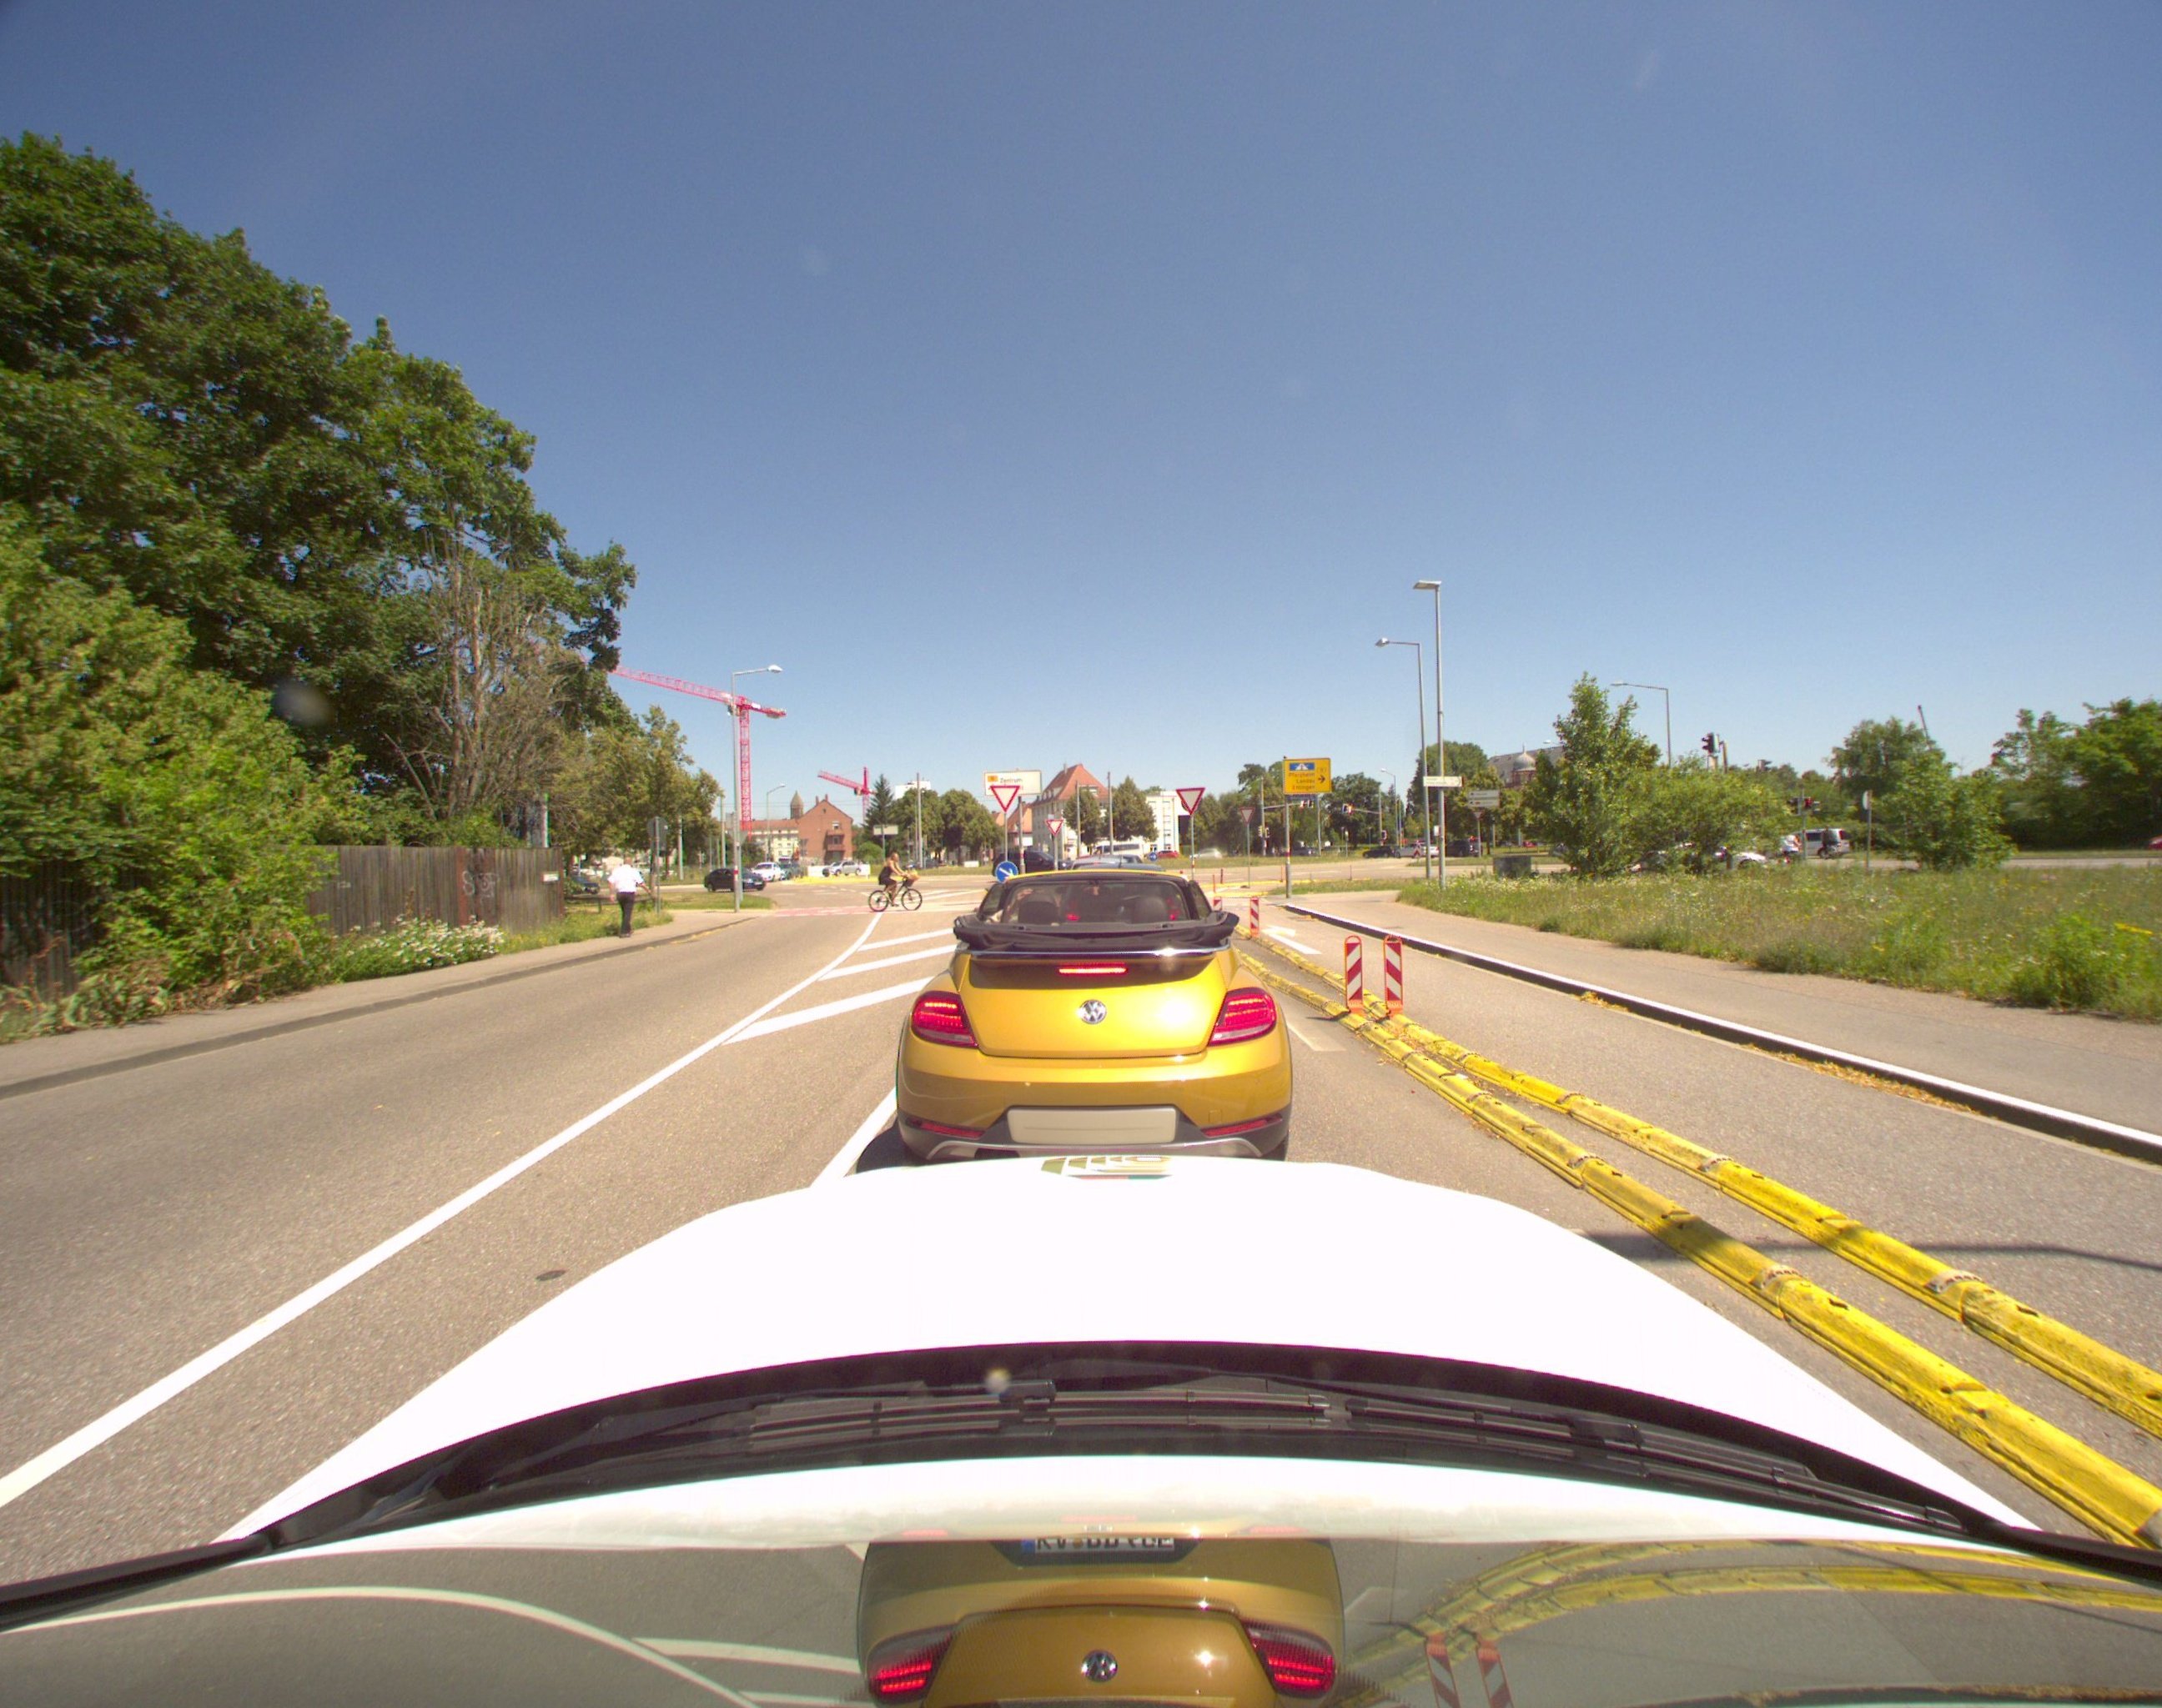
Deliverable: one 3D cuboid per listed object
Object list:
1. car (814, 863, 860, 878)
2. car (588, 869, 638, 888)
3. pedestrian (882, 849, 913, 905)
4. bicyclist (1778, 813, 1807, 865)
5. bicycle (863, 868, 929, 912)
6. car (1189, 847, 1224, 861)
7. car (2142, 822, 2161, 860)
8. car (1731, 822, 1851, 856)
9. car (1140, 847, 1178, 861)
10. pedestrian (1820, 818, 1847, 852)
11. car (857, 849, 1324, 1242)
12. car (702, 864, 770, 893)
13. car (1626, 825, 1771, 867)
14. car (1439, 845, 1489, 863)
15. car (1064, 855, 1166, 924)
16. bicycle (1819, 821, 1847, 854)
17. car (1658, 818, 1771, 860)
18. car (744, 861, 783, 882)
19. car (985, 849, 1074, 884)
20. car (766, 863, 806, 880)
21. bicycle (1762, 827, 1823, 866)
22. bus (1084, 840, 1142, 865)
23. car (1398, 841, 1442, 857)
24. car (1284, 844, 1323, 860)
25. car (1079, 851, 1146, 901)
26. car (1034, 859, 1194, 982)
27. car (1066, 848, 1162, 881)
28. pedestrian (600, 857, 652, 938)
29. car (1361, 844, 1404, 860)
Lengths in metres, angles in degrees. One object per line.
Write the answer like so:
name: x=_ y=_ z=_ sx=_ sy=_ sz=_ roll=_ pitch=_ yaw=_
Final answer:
car: x=-23.515 y=1.560 z=78.693 sx=1.711 sy=1.402 sz=4.297 roll=-1 pitch=-1 yaw=29
car: x=-47.504 y=2.481 z=82.691 sx=3.982 sy=1.772 sz=1.872 roll=0 pitch=-1 yaw=-7
pedestrian: x=-5.572 y=0.703 z=24.783 sx=0.728 sy=1.691 sz=0.577 roll=-1 pitch=-1 yaw=11
bicyclist: x=25.759 y=-0.535 z=29.502 sx=0.573 sy=1.841 sz=0.603 roll=0 pitch=-1 yaw=-29
bicycle: x=-5.628 y=1.100 z=24.781 sx=1.830 sy=1.231 sz=0.615 roll=-3 pitch=-1 yaw=12
car: x=15.817 y=0.011 z=102.395 sx=3.951 sy=1.772 sz=1.796 roll=-1 pitch=-1 yaw=23
car: x=53.673 y=-0.628 z=38.590 sx=3.889 sy=1.817 sz=1.673 roll=-1 pitch=-1 yaw=44
car: x=44.107 y=-0.895 z=50.740 sx=2.002 sy=1.962 sz=5.271 roll=0 pitch=-1 yaw=-34
car: x=9.645 y=0.018 z=100.483 sx=4.393 sy=1.736 sz=1.858 roll=-1 pitch=-1 yaw=20
pedestrian: x=37.903 y=-0.947 z=41.038 sx=0.959 sy=1.660 sz=0.892 roll=-1 pitch=-1 yaw=44
car: x=0.099 y=0.743 z=5.216 sx=1.758 sy=1.481 sz=4.259 roll=0 pitch=-1 yaw=2
car: x=-20.519 y=1.433 z=48.358 sx=4.287 sy=1.552 sz=1.739 roll=-1 pitch=1 yaw=37
car: x=25.558 y=-0.332 z=33.885 sx=4.368 sy=1.527 sz=2.010 roll=-2 pitch=0 yaw=20
car: x=36.328 y=0.033 z=77.385 sx=1.880 sy=1.614 sz=4.305 roll=0 pitch=-1 yaw=-17
car: x=0.750 y=0.743 z=18.646 sx=2.057 sy=1.382 sz=4.259 roll=0 pitch=-1 yaw=2
bicycle: x=38.002 y=-0.819 z=41.147 sx=0.972 sy=1.597 sz=2.900 roll=-1 pitch=-1 yaw=43
car: x=38.806 y=-0.856 z=49.968 sx=5.261 sy=2.397 sz=2.006 roll=-1 pitch=-1 yaw=43
car: x=-24.872 y=1.349 z=63.994 sx=1.773 sy=1.527 sz=3.866 roll=-2 pitch=0 yaw=-5
car: x=-2.831 y=0.708 z=44.904 sx=4.368 sy=1.594 sz=2.011 roll=-2 pitch=6 yaw=19
car: x=-25.190 y=1.499 z=69.689 sx=1.740 sy=1.371 sz=4.332 roll=0 pitch=-1 yaw=1
bicycle: x=25.827 y=-0.263 z=29.528 sx=2.902 sy=1.353 sz=0.635 roll=0 pitch=-1 yaw=-28
bus: x=4.171 y=-0.159 z=104.973 sx=7.208 sy=3.172 sz=2.267 roll=-1 pitch=-1 yaw=9
car: x=31.356 y=-0.455 z=75.372 sx=1.746 sy=1.371 sz=4.317 roll=0 pitch=-1 yaw=-9
car: x=25.069 y=-0.166 z=91.772 sx=1.851 sy=1.736 sz=4.409 roll=0 pitch=-1 yaw=-24
car: x=1.051 y=0.673 z=27.629 sx=2.057 sy=1.481 sz=4.545 roll=-2 pitch=0 yaw=2
car: x=0.457 y=0.801 z=11.774 sx=1.844 sy=1.366 sz=4.260 roll=-2 pitch=0 yaw=2
car: x=1.654 y=0.500 z=39.458 sx=4.377 sy=1.527 sz=2.006 roll=-1 pitch=-1 yaw=10
pedestrian: x=-10.258 y=0.962 z=18.385 sx=0.634 sy=1.786 sz=0.968 roll=0 pitch=-1 yaw=-2
car: x=34.100 y=-0.228 z=92.254 sx=1.855 sy=1.736 sz=4.399 roll=0 pitch=-1 yaw=-33
